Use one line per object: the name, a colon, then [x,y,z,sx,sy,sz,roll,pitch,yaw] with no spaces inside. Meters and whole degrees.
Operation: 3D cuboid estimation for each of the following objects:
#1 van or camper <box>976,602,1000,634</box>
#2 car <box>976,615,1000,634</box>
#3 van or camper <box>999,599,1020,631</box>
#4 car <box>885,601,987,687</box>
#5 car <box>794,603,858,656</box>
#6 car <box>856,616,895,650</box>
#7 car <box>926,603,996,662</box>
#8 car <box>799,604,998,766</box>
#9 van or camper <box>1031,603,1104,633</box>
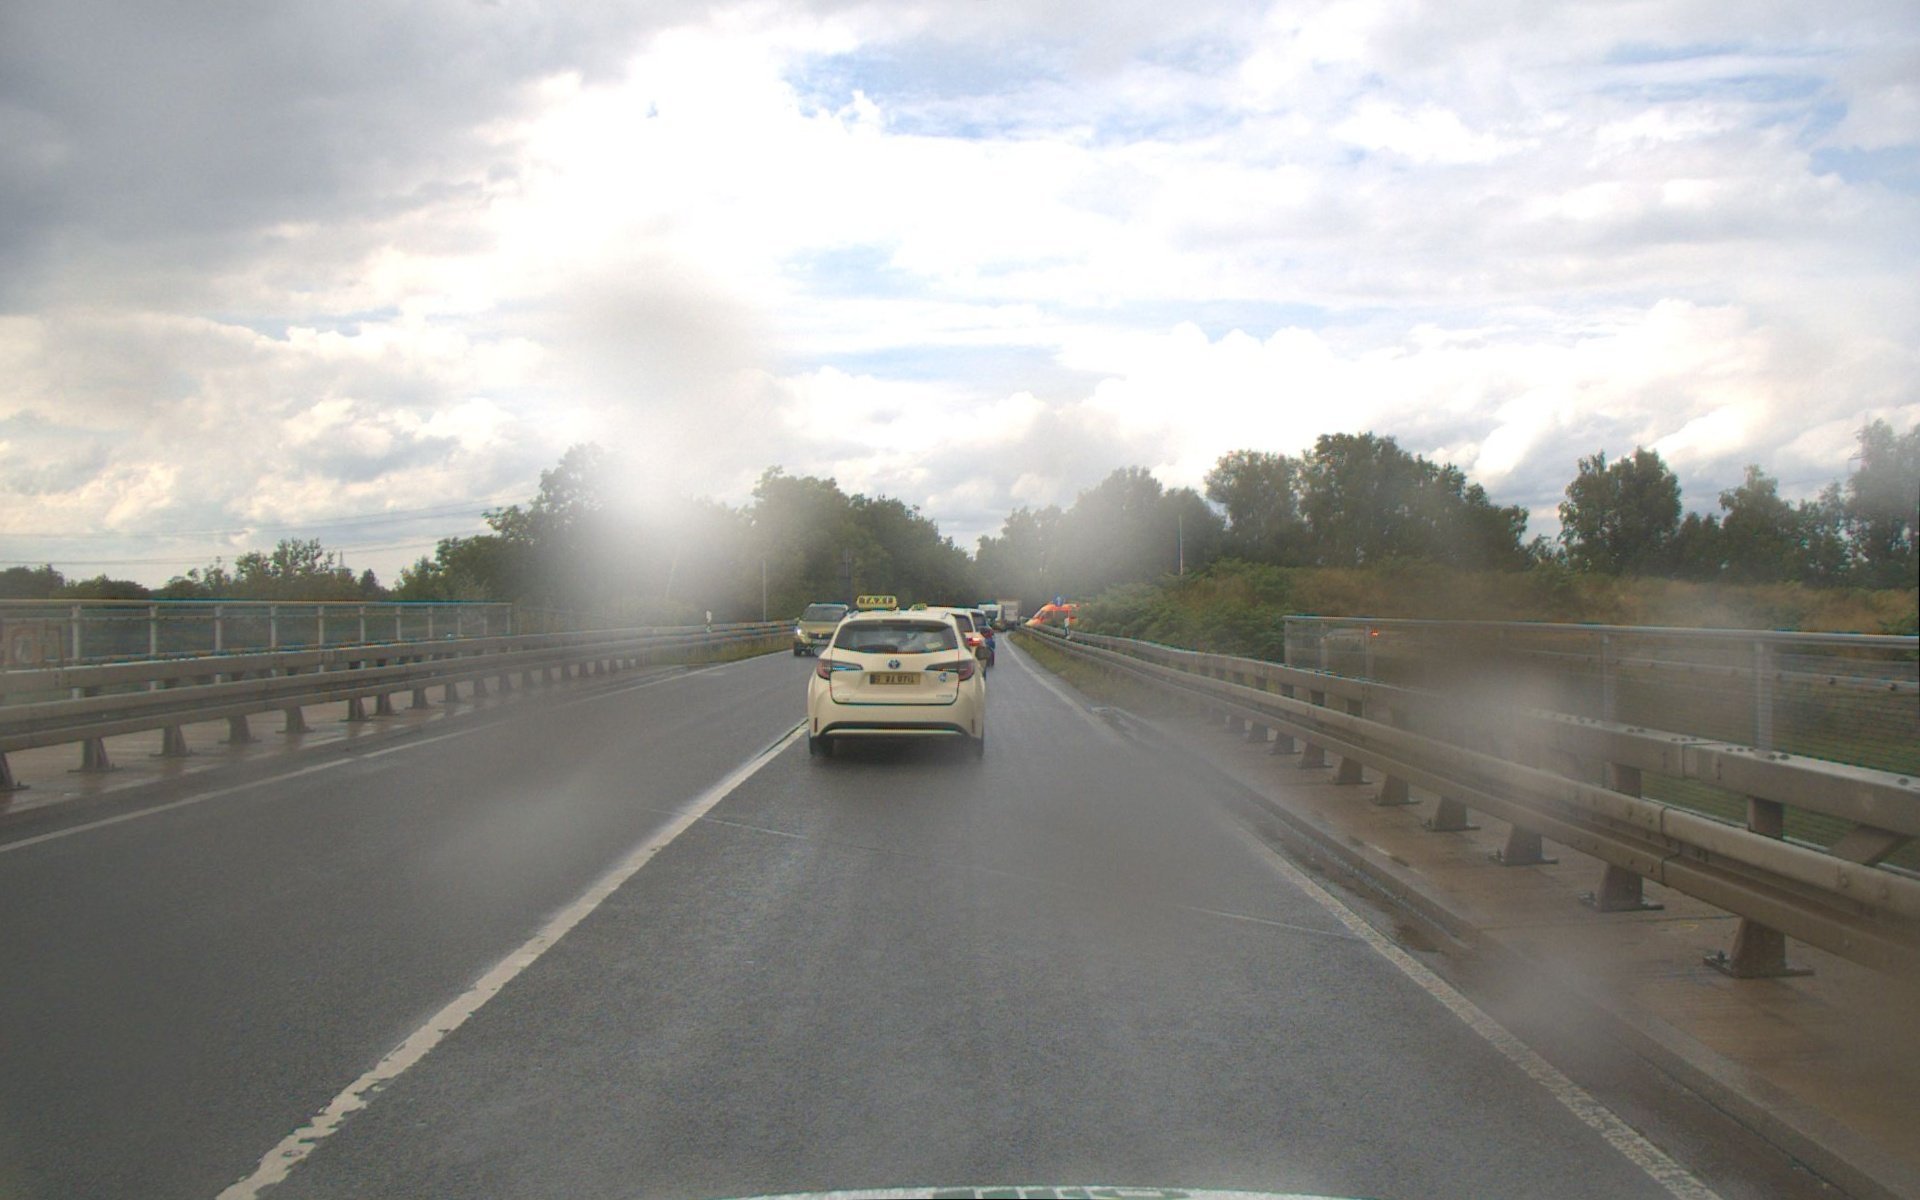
van or camper: [2.752,1.731,160.814,2.284,2.914,6.307,1,0,1]
car: [2.361,2.026,137.207,1.815,1.468,4.172,1,0,3]
van or camper: [5.705,1.743,192.103,2.284,3.625,6.307,1,0,1]
car: [-0.441,0.787,31.750,1.816,1.468,4.170,1,1,0]
car: [-4.084,0.911,50.931,1.679,1.543,3.859,1,-1,-1]
car: [-3.983,1.549,78.638,1.662,1.457,4.322,1,0,-1]
car: [0.021,0.855,45.275,1.816,1.468,4.170,1,1,0]
car: [-0.580,0.793,17.402,1.816,1.418,4.170,1,1,0]
van or camper: [8.675,1.421,133.577,5.583,2.281,2.012,1,0,-15]
